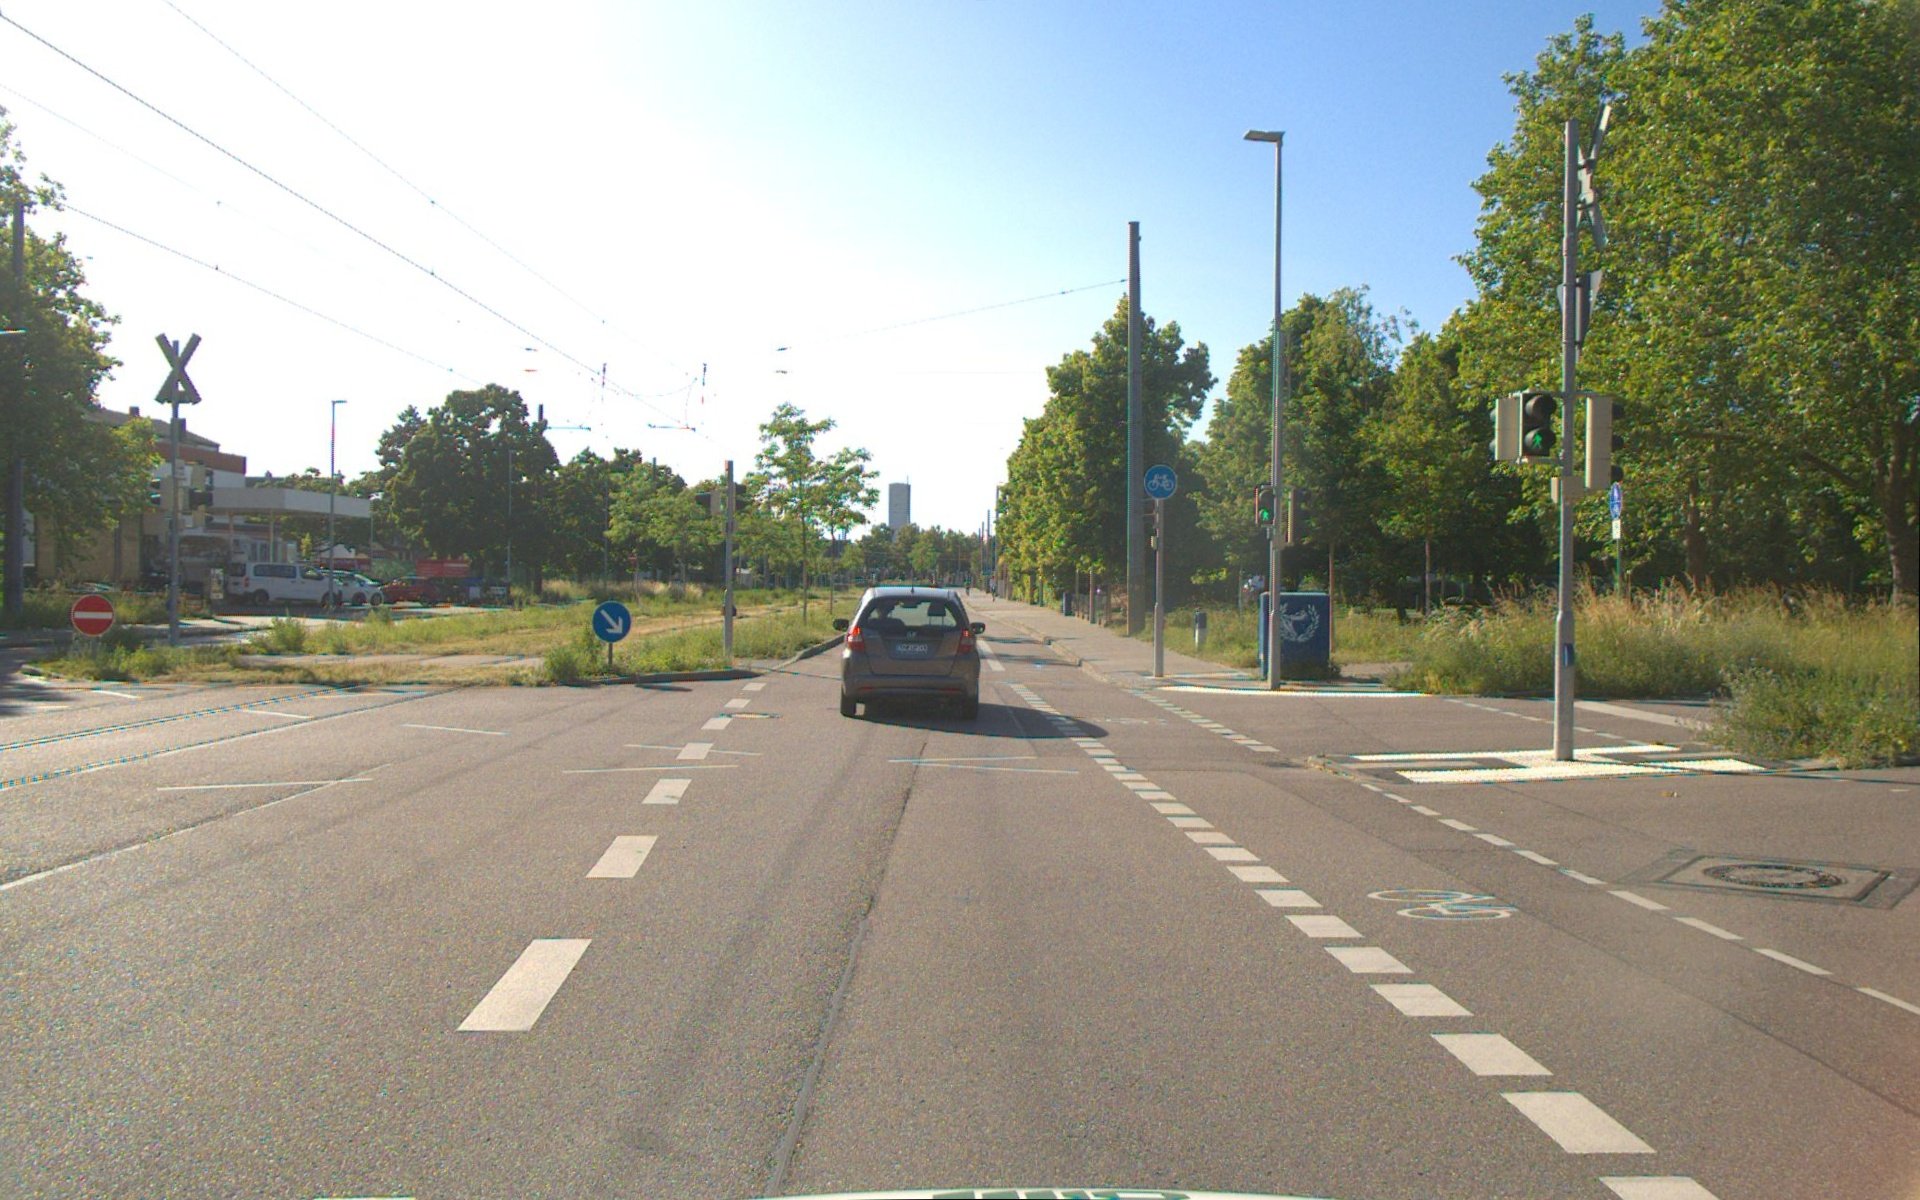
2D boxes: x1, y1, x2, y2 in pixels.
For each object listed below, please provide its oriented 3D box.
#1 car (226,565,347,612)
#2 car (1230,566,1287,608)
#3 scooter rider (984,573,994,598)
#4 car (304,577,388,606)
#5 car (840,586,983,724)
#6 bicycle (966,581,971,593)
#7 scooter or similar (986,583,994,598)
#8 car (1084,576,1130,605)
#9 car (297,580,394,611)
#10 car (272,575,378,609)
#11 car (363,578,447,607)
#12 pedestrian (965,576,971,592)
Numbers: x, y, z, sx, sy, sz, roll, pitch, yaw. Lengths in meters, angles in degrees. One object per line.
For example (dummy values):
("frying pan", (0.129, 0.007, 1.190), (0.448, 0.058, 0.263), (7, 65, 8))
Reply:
("car", (-29.817, -0.533, 73.332), (1.824, 2.008, 4.767), (1, 1, 37))
("car", (14.913, -0.637, 82.881), (1.834, 2.001, 5.166), (1, 1, -1))
("scooter rider", (2.285, -1.131, 128.972), (0.702, 1.934, 0.934), (0, 0, -3))
("car", (-34.228, -0.456, 92.246), (3.989, 1.596, 1.791), (0, 1, -3))
("car", (-0.656, 0.620, 20.594), (1.592, 1.526, 3.454), (1, 1, -4))
("bicycle", (0.926, -1.471, 186.278), (0.502, 1.263, 3.089), (0, 1, -2))
("scooter or similar", (2.327, -0.726, 129.157), (0.528, 1.138, 1.416), (0, 0, -2))
("car", (7.355, -0.477, 82.942), (1.739, 1.411, 3.867), (-1, 1, -4))
("car", (-30.390, -0.244, 81.900), (1.752, 1.496, 4.464), (0, 1, 29))
("car", (-29.860, -0.384, 77.852), (1.757, 1.554, 4.452), (1, 1, 37))
("car", (-30.135, -0.417, 89.932), (3.989, 1.596, 1.791), (0, 1, -3))
("pedestrian", (0.912, -1.779, 186.333), (0.707, 1.832, 1.164), (0, 0, -2))
